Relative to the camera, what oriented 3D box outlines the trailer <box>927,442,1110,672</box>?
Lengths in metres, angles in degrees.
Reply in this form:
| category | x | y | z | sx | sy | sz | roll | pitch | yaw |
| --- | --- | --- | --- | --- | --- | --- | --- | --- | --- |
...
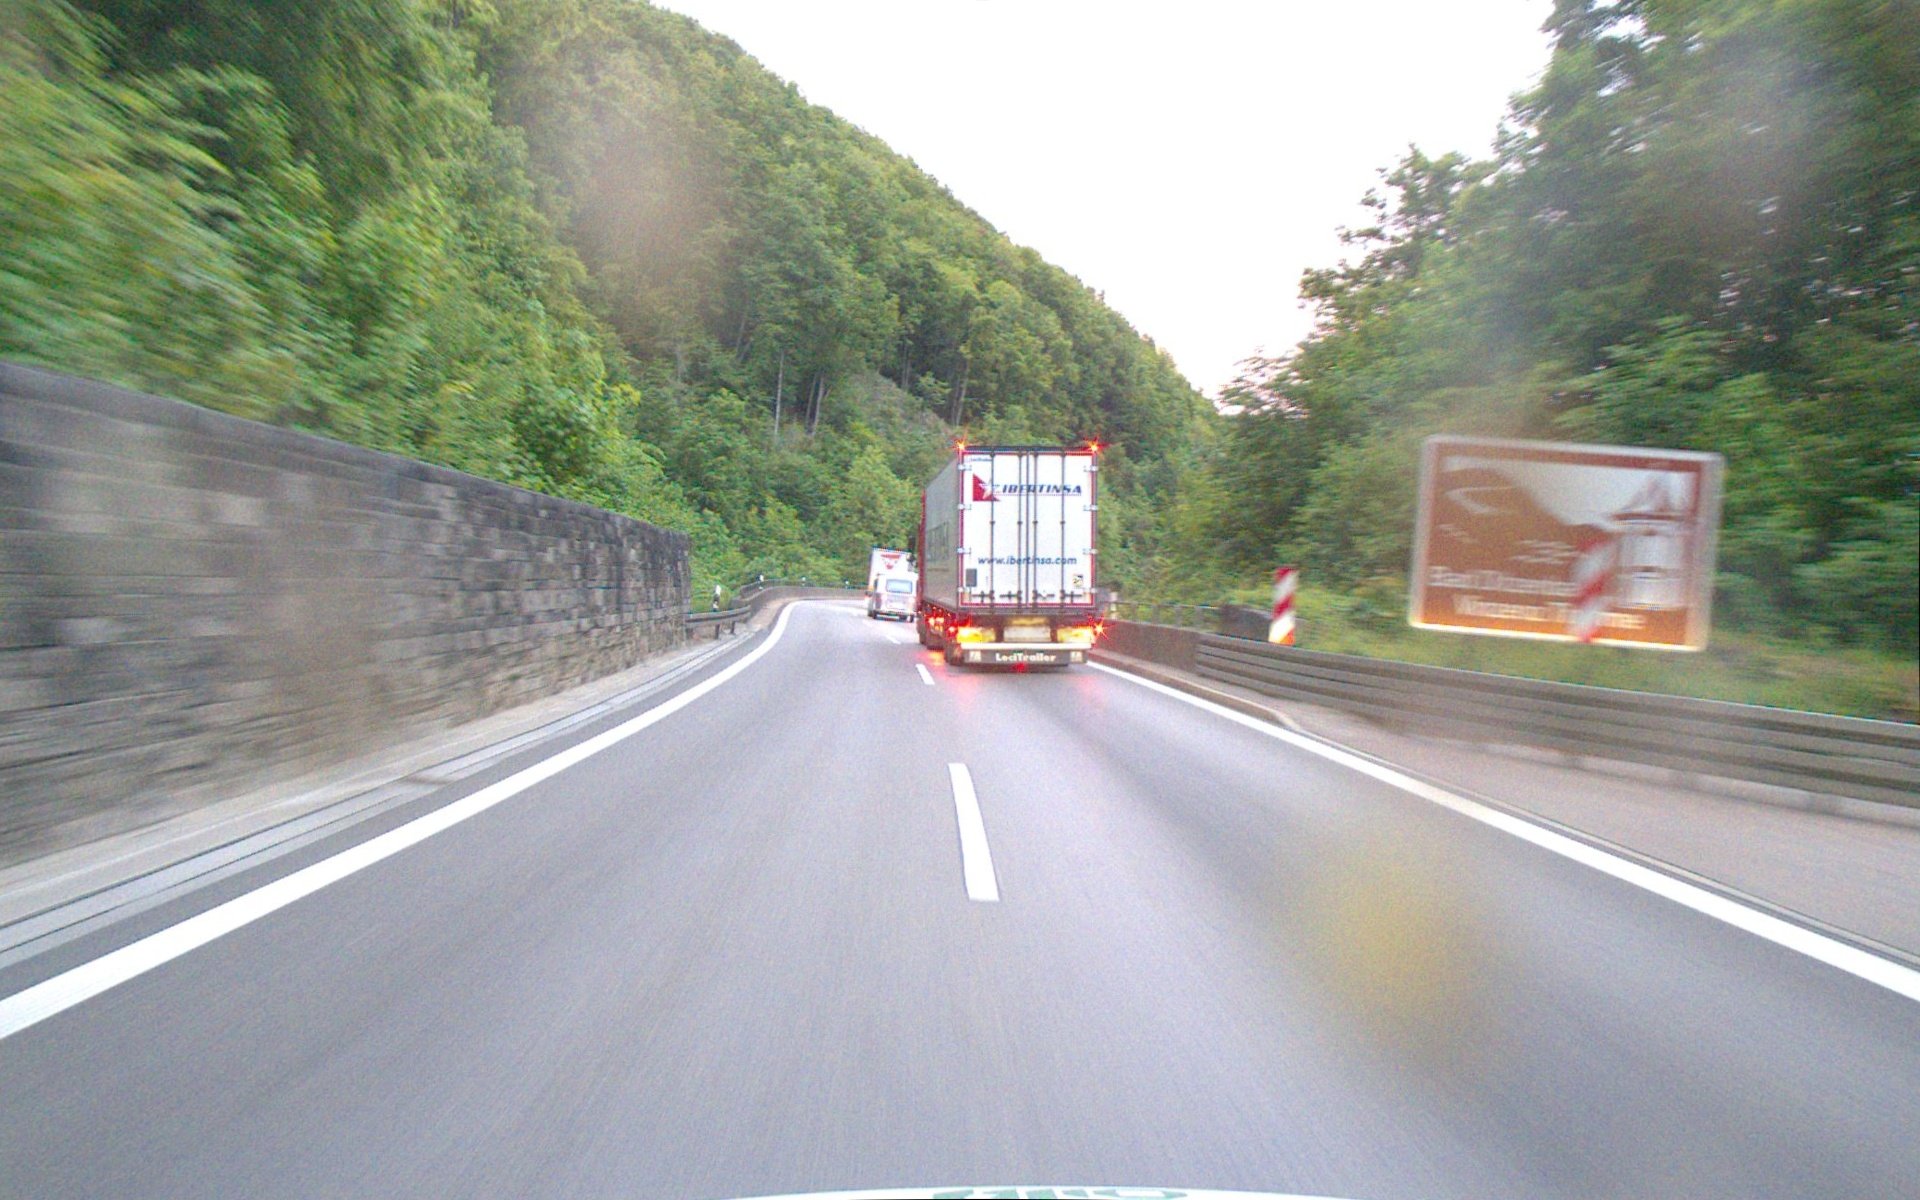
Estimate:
| category | x | y | z | sx | sy | sz | roll | pitch | yaw |
| --- | --- | --- | --- | --- | --- | --- | --- | --- | --- |
| trailer | 0.904 | -0.940 | 36.258 | 3.035 | 4.039 | 14.214 | 0 | 1 | -2 |

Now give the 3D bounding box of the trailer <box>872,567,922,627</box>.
| category | x | y | z | sx | sy | sz | roll | pitch | yaw |
| --- | --- | --- | --- | --- | --- | --- | --- | --- | --- |
| trailer | -2.900 | -0.185 | 77.339 | 2.014 | 2.414 | 5.937 | 7 | 1 | -1 |

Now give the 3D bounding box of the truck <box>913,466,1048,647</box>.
| category | x | y | z | sx | sy | sz | roll | pitch | yaw |
| --- | --- | --- | --- | --- | --- | --- | --- | --- | --- |
| truck | 0.385 | -1.088 | 42.274 | 3.008 | 4.216 | 6.444 | 1 | 1 | -3 |

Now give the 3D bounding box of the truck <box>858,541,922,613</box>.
| category | x | y | z | sx | sy | sz | roll | pitch | yaw |
| --- | --- | --- | --- | --- | --- | --- | --- | --- | --- |
| truck | -4.599 | -1.385 | 113.021 | 3.227 | 4.246 | 16.502 | 3 | -1 | 1 |
